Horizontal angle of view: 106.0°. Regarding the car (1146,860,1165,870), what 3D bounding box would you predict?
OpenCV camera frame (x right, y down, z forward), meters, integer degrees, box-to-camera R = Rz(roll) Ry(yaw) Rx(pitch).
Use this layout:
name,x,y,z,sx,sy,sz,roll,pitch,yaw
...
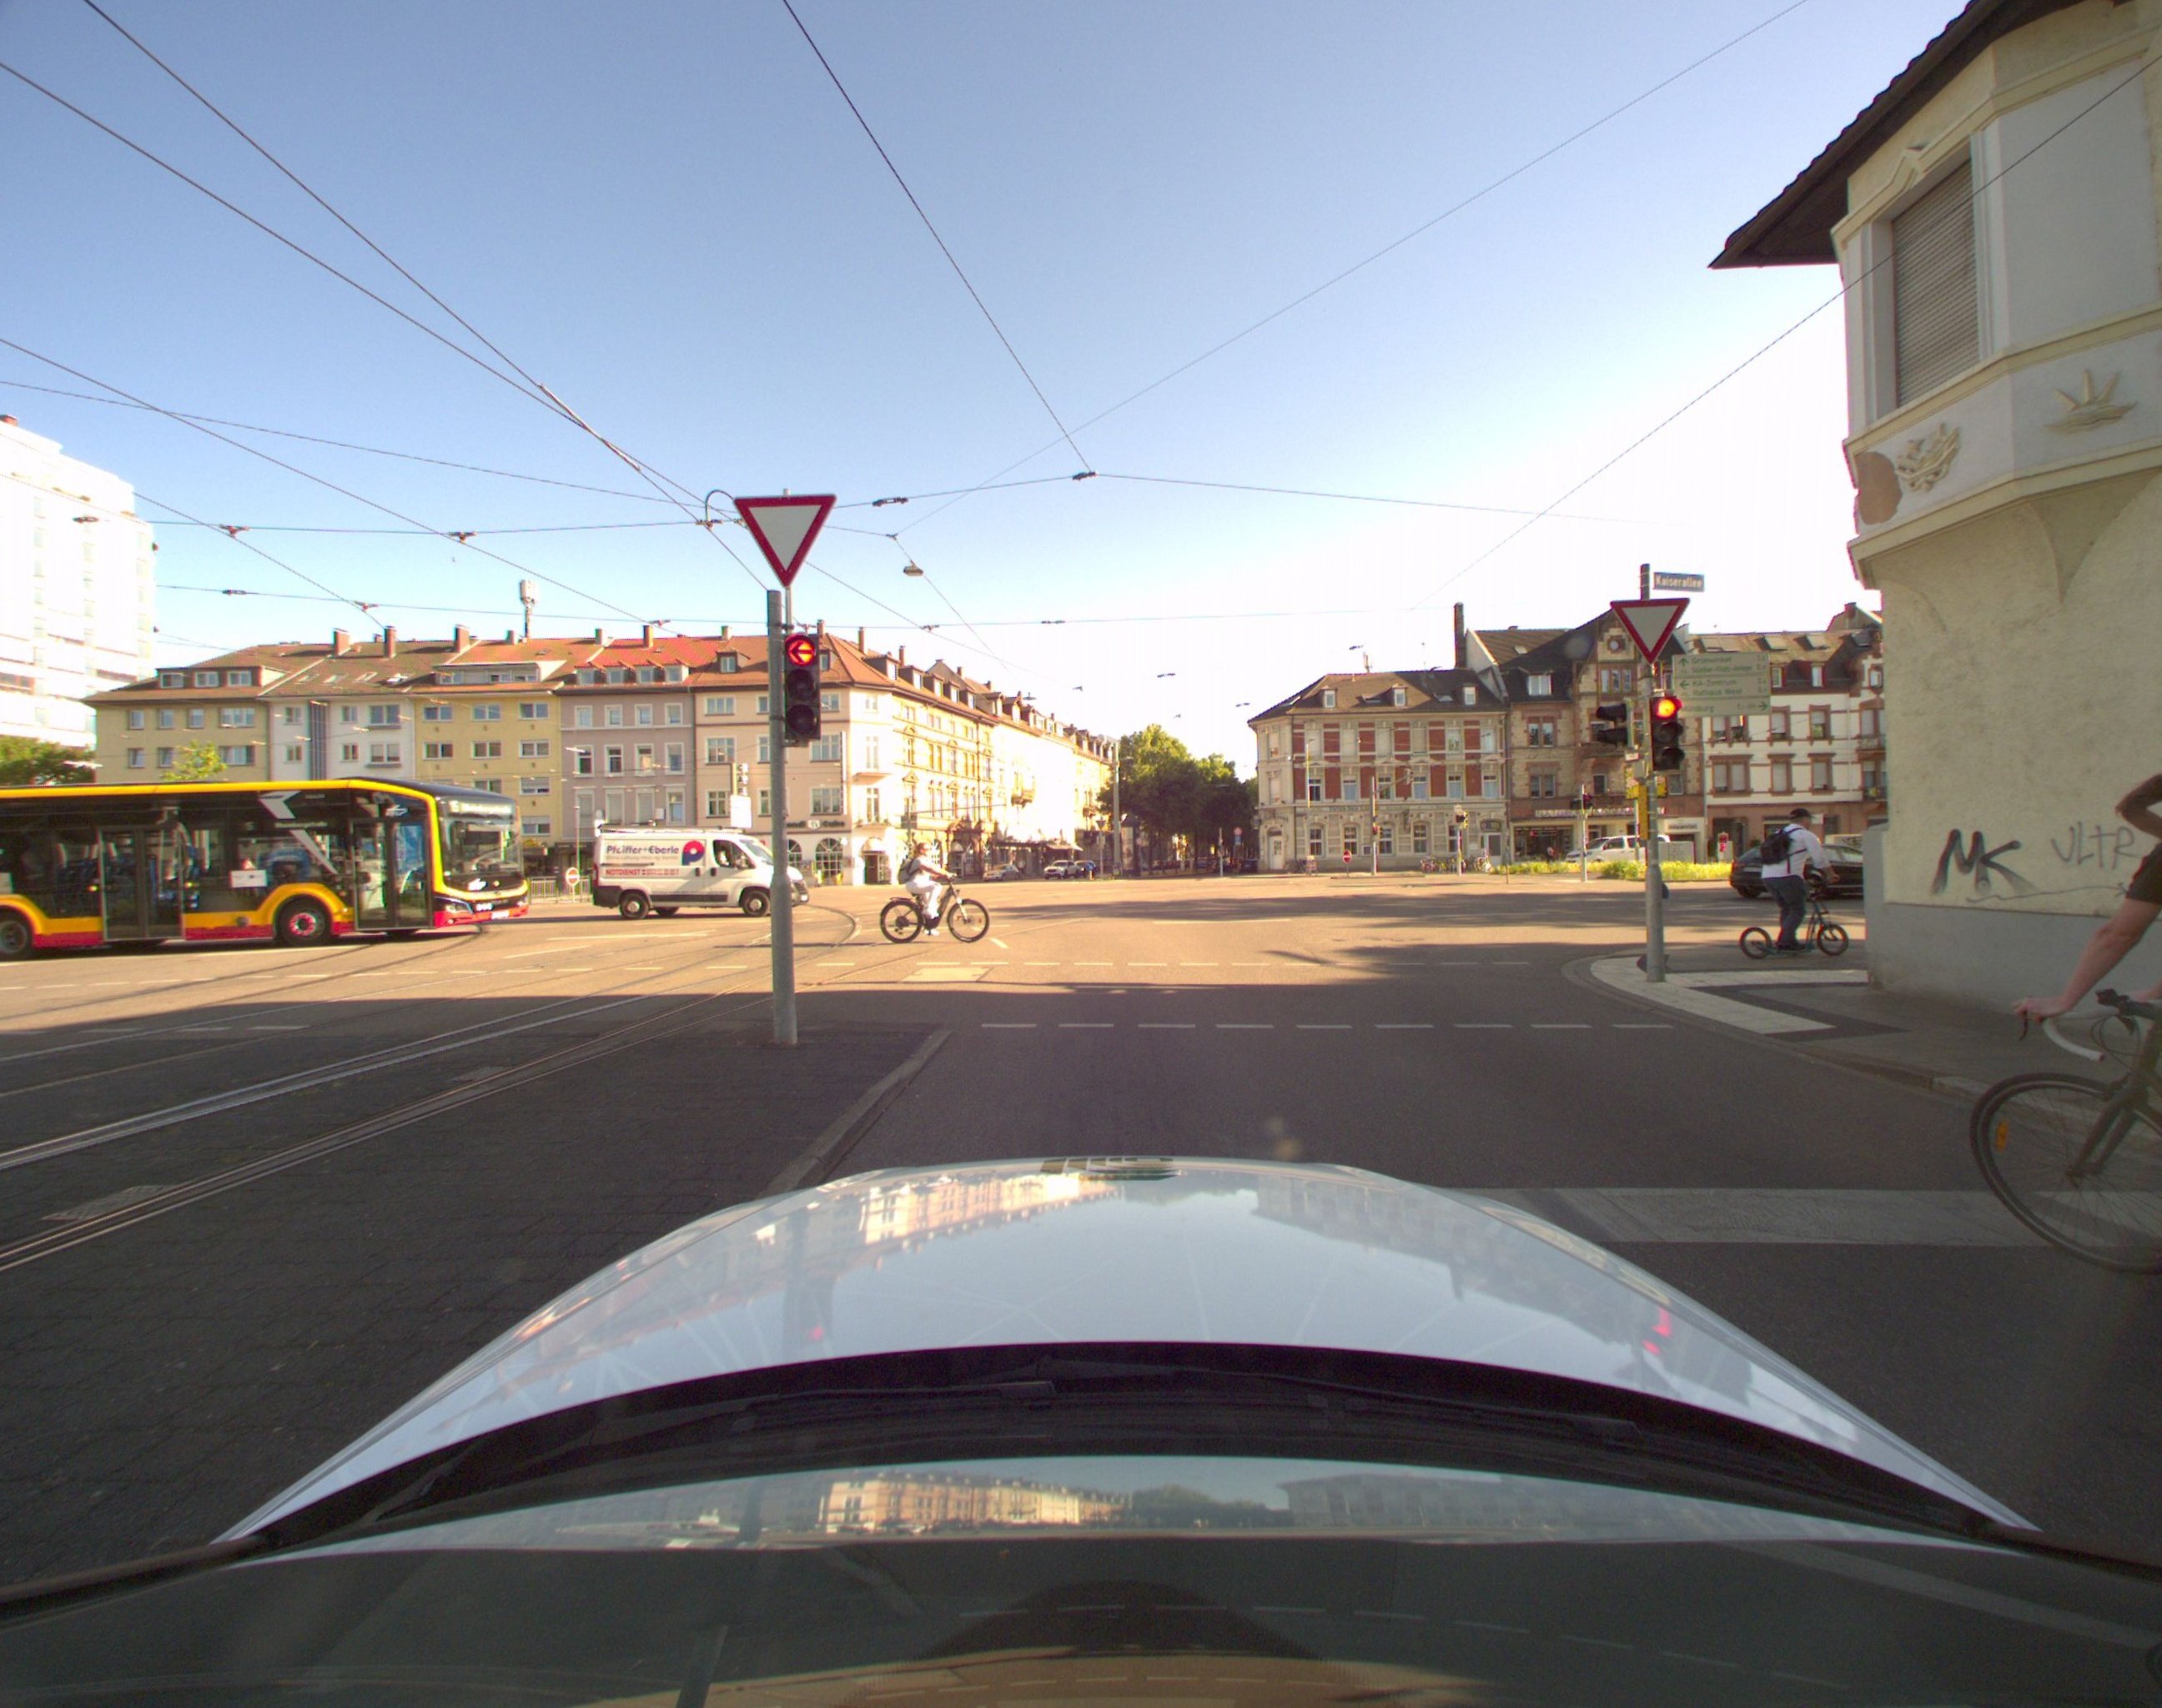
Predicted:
name,x,y,z,sx,sy,sz,roll,pitch,yaw
car,11.215,1.699,122.484,1.977,1.404,4.189,-1,0,18

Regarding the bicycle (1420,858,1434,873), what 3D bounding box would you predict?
name,x,y,z,sx,sy,sz,roll,pitch,yaw
bicycle,22.488,0.738,52.959,0.483,0.914,1.789,-1,0,12

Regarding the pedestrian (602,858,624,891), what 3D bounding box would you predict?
name,x,y,z,sx,sy,sz,roll,pitch,yaw
pedestrian,-23.732,1.014,41.336,0.738,1.635,0.572,-1,0,1

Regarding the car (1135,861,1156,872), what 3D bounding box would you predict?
name,x,y,z,sx,sy,sz,roll,pitch,yaw
car,9.260,1.822,116.806,1.977,1.404,4.189,-1,0,18

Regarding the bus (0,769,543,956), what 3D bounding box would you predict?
name,x,y,z,sx,sy,sz,roll,pitch,yaw
bus,-16.711,0.123,16.609,9.388,3.457,2.778,0,1,-3

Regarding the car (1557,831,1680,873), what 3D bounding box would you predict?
name,x,y,z,sx,sy,sz,roll,pitch,yaw
car,27.536,-0.090,41.866,4.962,2.013,2.001,-1,0,1

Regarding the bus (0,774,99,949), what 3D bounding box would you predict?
name,x,y,z,sx,sy,sz,roll,pitch,yaw
bus,-25.666,0.165,16.142,8.593,3.457,2.785,0,1,-3

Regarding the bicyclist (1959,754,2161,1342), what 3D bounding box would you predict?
name,x,y,z,sx,sy,sz,roll,pitch,yaw
bicyclist,3.558,0.577,2.484,0.649,1.767,0.995,-1,0,2

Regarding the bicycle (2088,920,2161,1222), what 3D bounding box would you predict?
name,x,y,z,sx,sy,sz,roll,pitch,yaw
bicycle,4.503,0.859,2.472,0.568,1.165,1.890,-1,0,2

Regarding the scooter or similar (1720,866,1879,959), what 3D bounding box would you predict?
name,x,y,z,sx,sy,sz,roll,pitch,yaw
scooter or similar,8.845,0.707,10.062,1.426,1.043,0.565,-2,0,1

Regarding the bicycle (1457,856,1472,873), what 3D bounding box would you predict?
name,x,y,z,sx,sy,sz,roll,pitch,yaw
bicycle,24.823,0.682,52.696,0.483,1.020,1.789,-1,0,12

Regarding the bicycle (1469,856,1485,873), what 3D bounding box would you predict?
name,x,y,z,sx,sy,sz,roll,pitch,yaw
bicycle,25.634,0.677,52.744,0.483,1.020,1.789,-1,0,12

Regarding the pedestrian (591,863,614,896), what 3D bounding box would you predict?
name,x,y,z,sx,sy,sz,roll,pitch,yaw
pedestrian,-24.900,1.307,42.367,0.764,1.682,0.628,-1,0,1

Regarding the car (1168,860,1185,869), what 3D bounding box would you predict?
name,x,y,z,sx,sy,sz,roll,pitch,yaw
car,16.046,1.749,136.401,1.977,1.404,4.189,-1,0,18

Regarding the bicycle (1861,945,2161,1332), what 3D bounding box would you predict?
name,x,y,z,sx,sy,sz,roll,pitch,yaw
bicycle,3.559,0.920,2.486,0.568,1.058,1.890,-1,0,2

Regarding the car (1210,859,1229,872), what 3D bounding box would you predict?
name,x,y,z,sx,sy,sz,roll,pitch,yaw
car,15.152,1.241,89.004,1.705,1.300,4.089,-1,0,14

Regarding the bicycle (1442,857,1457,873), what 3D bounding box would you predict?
name,x,y,z,sx,sy,sz,roll,pitch,yaw
bicycle,23.860,0.690,52.737,0.483,1.020,1.789,-1,0,12

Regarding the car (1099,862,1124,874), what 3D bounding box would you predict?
name,x,y,z,sx,sy,sz,roll,pitch,yaw
car,3.844,1.719,102.159,1.977,1.404,4.189,-1,0,18

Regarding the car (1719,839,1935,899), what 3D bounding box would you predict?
name,x,y,z,sx,sy,sz,roll,pitch,yaw
car,18.960,0.356,20.776,4.264,1.381,1.642,-1,0,-6

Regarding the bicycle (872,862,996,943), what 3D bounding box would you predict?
name,x,y,z,sx,sy,sz,roll,pitch,yaw
bicycle,-2.424,0.794,13.575,1.934,1.299,0.623,-1,0,0

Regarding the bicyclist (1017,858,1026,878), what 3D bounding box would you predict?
name,x,y,z,sx,sy,sz,roll,pitch,yaw
bicyclist,-4.760,1.097,65.456,0.486,1.601,0.668,-1,0,12

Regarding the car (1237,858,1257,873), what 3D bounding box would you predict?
name,x,y,z,sx,sy,sz,roll,pitch,yaw
car,16.809,1.139,82.275,1.742,1.420,4.016,-1,0,14

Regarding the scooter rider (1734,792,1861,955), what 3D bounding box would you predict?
name,x,y,z,sx,sy,sz,roll,pitch,yaw
scooter rider,8.875,0.235,10.123,0.792,1.912,0.797,-3,0,1

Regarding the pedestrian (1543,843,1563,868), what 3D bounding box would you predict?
name,x,y,z,sx,sy,sz,roll,pitch,yaw
pedestrian,32.336,0.099,55.782,1.029,1.712,0.631,-1,-1,10

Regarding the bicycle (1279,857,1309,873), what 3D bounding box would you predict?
name,x,y,z,sx,sy,sz,roll,pitch,yaw
bicycle,14.919,0.756,57.122,1.940,1.054,0.717,-1,0,11

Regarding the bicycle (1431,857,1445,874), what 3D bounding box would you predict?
name,x,y,z,sx,sy,sz,roll,pitch,yaw
bicycle,23.165,0.728,52.856,0.483,1.020,1.789,-1,0,12

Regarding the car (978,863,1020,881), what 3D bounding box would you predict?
name,x,y,z,sx,sy,sz,roll,pitch,yaw
car,-6.751,1.480,67.348,1.977,1.361,3.836,-1,0,18

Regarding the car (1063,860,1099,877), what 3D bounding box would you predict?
name,x,y,z,sx,sy,sz,roll,pitch,yaw
car,0.039,1.316,73.791,1.977,1.404,4.189,-1,0,18

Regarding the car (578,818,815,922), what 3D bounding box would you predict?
name,x,y,z,sx,sy,sz,roll,pitch,yaw
car,-9.852,0.395,21.266,5.103,2.432,2.077,-2,-1,-6

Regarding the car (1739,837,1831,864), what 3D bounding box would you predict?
name,x,y,z,sx,sy,sz,roll,pitch,yaw
car,45.298,-0.236,52.461,4.239,1.622,1.999,-1,0,-1

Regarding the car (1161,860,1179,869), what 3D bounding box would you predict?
name,x,y,z,sx,sy,sz,roll,pitch,yaw
car,14.346,1.720,131.242,1.977,1.404,4.189,-1,0,18

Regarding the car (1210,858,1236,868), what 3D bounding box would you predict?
name,x,y,z,sx,sy,sz,roll,pitch,yaw
car,19.394,1.224,111.171,3.409,1.239,1.582,-1,0,13

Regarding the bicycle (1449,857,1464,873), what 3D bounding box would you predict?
name,x,y,z,sx,sy,sz,roll,pitch,yaw
bicycle,24.320,0.687,52.787,0.483,1.020,1.789,-1,0,12

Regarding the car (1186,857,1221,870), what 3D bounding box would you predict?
name,x,y,z,sx,sy,sz,roll,pitch,yaw
car,14.974,1.164,99.490,3.959,1.454,1.687,-1,0,13

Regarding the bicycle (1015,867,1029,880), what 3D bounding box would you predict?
name,x,y,z,sx,sy,sz,roll,pitch,yaw
bicycle,-4.755,1.535,65.553,0.650,1.000,1.671,-1,-1,14

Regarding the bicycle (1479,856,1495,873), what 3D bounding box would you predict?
name,x,y,z,sx,sy,sz,roll,pitch,yaw
bicycle,26.339,0.673,52.899,0.483,1.020,1.789,-1,0,12

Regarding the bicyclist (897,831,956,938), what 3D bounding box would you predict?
name,x,y,z,sx,sy,sz,roll,pitch,yaw
bicyclist,-2.566,0.494,13.597,0.796,1.715,0.734,-1,0,0

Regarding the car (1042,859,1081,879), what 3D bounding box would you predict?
name,x,y,z,sx,sy,sz,roll,pitch,yaw
car,-1.582,1.222,67.654,1.977,1.516,4.189,-1,0,18
